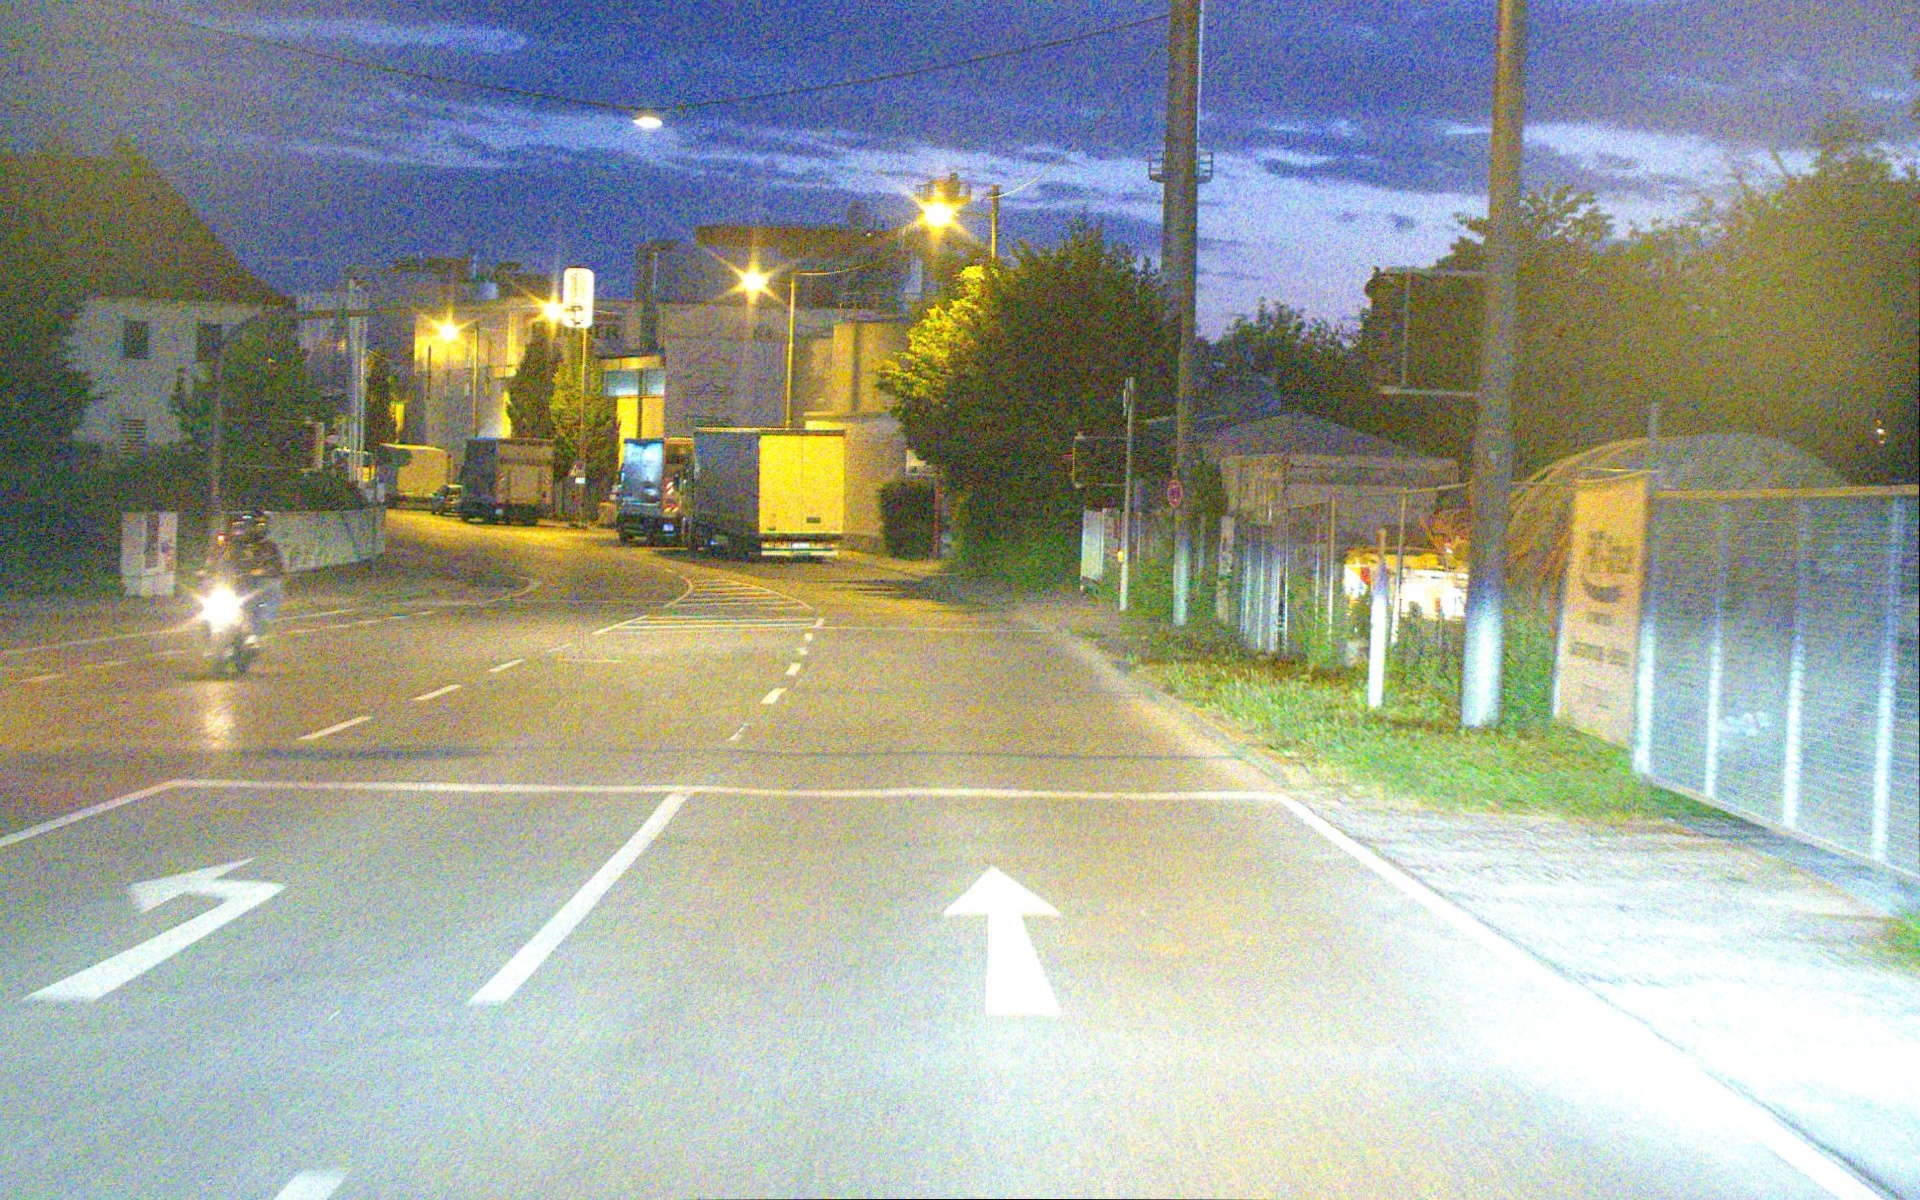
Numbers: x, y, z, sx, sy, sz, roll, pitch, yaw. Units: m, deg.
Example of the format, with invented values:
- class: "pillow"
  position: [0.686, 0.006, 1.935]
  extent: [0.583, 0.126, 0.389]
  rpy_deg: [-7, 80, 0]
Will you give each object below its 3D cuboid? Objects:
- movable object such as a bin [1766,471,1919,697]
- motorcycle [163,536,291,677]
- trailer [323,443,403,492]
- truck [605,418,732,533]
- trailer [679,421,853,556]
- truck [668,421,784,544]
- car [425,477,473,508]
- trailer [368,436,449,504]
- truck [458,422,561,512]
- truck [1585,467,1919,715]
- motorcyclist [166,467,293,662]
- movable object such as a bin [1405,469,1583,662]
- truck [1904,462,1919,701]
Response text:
- class: "movable object such as a bin"
  position: [11.972, -0.214, 43.714]
  extent: [2.227, 2.715, 3.866]
  rpy_deg: [3, 1, -3]
- class: "motorcycle"
  position: [-7.348, 0.038, 34.586]
  extent: [0.997, 1.300, 2.827]
  rpy_deg: [2, 1, -7]
- class: "trailer"
  position: [-34.770, -7.697, 199.918]
  extent: [3.183, 2.739, 10.719]
  rpy_deg: [0, 2, -18]
- class: "truck"
  position: [-10.698, -4.546, 125.227]
  extent: [2.829, 3.969, 10.346]
  rpy_deg: [0, 2, -15]
- class: "trailer"
  position: [-6.277, -3.574, 108.518]
  extent: [2.808, 3.969, 13.980]
  rpy_deg: [0, 2, -14]
- class: "truck"
  position: [-7.855, -3.938, 114.764]
  extent: [2.829, 3.969, 6.052]
  rpy_deg: [0, 2, -13]
- class: "car"
  position: [-25.613, -5.388, 172.248]
  extent: [1.852, 1.513, 3.820]
  rpy_deg: [0, 2, -17]
- class: "trailer"
  position: [-29.624, -6.995, 184.432]
  extent: [2.686, 3.452, 7.812]
  rpy_deg: [2, 2, -20]
- class: "truck"
  position: [-20.714, -6.109, 157.631]
  extent: [3.519, 3.969, 10.346]
  rpy_deg: [0, 2, -14]
- class: "truck"
  position: [8.791, -0.188, 38.551]
  extent: [2.183, 2.414, 7.316]
  rpy_deg: [3, 2, 0]
- class: "motorcyclist"
  position: [-7.341, -0.360, 34.592]
  extent: [1.133, 1.893, 0.834]
  rpy_deg: [2, 1, -8]
- class: "movable object such as a bin"
  position: [6.891, -0.460, 44.459]
  extent: [1.679, 2.375, 1.617]
  rpy_deg: [2, 1, -13]
- class: "truck"
  position: [11.957, -0.098, 36.111]
  extent: [2.183, 2.738, 7.315]
  rpy_deg: [3, 1, 2]
